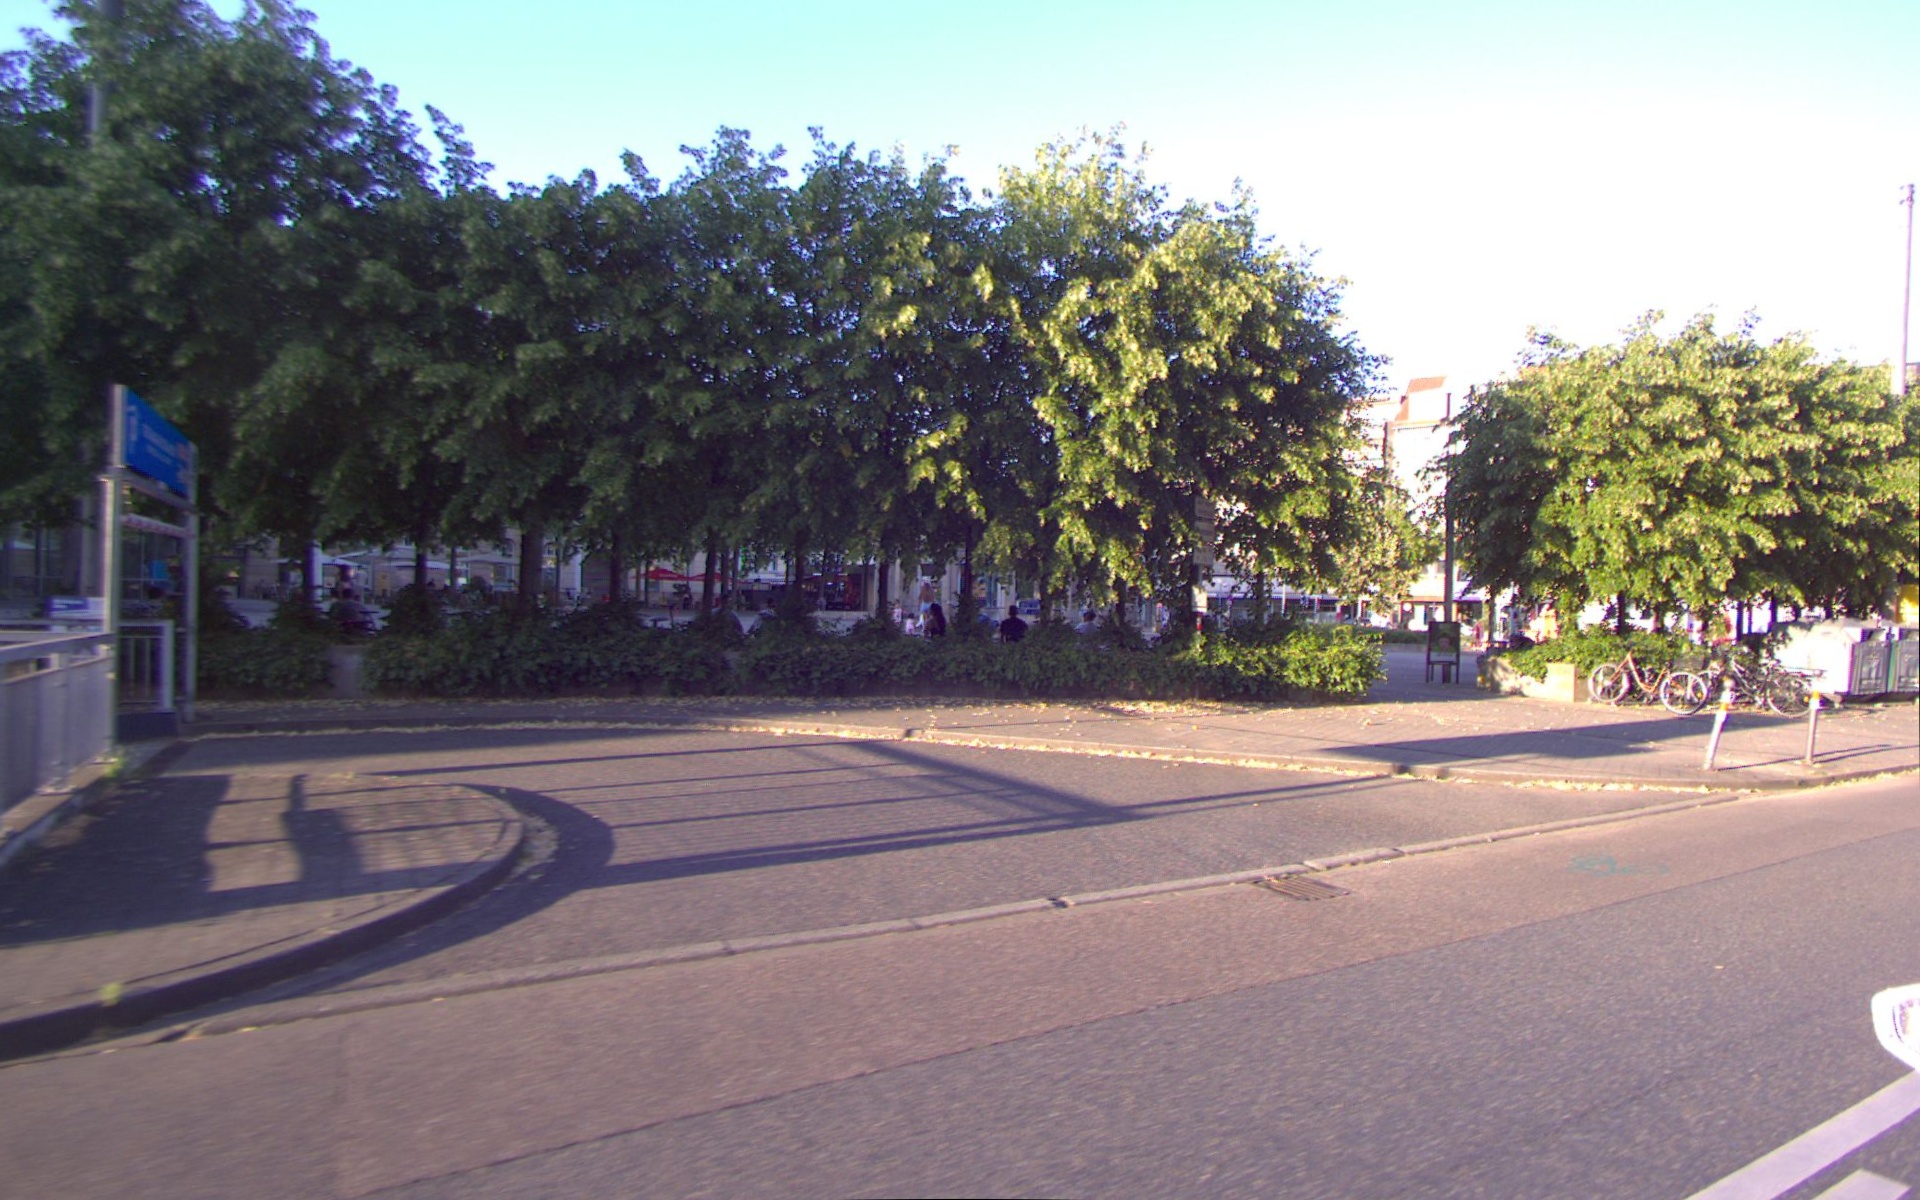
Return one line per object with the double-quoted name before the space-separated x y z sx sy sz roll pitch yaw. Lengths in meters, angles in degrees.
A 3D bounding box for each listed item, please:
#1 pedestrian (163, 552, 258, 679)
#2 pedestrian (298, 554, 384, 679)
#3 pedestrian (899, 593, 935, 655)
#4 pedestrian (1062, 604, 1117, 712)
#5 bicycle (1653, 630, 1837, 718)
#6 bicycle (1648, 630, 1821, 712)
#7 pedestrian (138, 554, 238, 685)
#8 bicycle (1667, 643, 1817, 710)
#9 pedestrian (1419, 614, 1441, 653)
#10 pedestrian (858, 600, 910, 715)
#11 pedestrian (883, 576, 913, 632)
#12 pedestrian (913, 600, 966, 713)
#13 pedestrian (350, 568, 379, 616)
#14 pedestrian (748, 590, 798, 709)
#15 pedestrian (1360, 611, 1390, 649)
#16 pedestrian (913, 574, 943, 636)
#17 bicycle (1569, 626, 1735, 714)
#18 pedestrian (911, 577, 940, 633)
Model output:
"pedestrian" -12.572 0.253 16.876 0.902 2.040 0.913 2 0 -7
"pedestrian" -10.490 0.269 17.050 0.902 2.040 0.913 2 0 -7
"pedestrian" -1.159 0.634 27.240 0.789 1.632 0.526 2 0 22
"pedestrian" 2.412 1.063 18.723 0.718 1.974 0.802 1 0 -16
"bicycle" 13.377 1.224 17.230 0.512 1.254 2.418 1 1 -31
"bicycle" 13.755 1.224 17.944 0.457 1.254 2.418 1 0 -31
"pedestrian" -12.502 0.307 16.300 0.902 2.040 0.913 2 0 -7
"bicycle" 14.209 1.360 18.316 0.629 0.984 2.032 1 2 -31
"pedestrian" 22.548 1.590 48.206 0.695 1.801 0.897 2 0 9
"pedestrian" -1.351 0.995 17.737 0.718 1.974 0.802 1 0 -16
"pedestrian" -2.251 0.145 36.334 0.791 1.974 0.686 1 0 31
"pedestrian" -0.375 0.989 17.933 0.718 1.974 0.802 1 0 -16
"pedestrian" -24.575 -0.323 41.446 0.716 1.974 0.804 1 0 -5
"pedestrian" -3.207 0.835 17.216 0.718 1.974 0.802 1 0 -16
"pedestrian" 20.340 1.461 49.238 1.169 1.801 0.710 2 0 6
"pedestrian" -1.033 0.165 32.366 0.720 1.974 0.801 1 0 -22
"bicycle" 11.720 1.147 17.152 0.801 1.301 2.507 2 0 -9
"pedestrian" -1.217 0.171 35.723 0.716 1.974 0.805 1 0 20
